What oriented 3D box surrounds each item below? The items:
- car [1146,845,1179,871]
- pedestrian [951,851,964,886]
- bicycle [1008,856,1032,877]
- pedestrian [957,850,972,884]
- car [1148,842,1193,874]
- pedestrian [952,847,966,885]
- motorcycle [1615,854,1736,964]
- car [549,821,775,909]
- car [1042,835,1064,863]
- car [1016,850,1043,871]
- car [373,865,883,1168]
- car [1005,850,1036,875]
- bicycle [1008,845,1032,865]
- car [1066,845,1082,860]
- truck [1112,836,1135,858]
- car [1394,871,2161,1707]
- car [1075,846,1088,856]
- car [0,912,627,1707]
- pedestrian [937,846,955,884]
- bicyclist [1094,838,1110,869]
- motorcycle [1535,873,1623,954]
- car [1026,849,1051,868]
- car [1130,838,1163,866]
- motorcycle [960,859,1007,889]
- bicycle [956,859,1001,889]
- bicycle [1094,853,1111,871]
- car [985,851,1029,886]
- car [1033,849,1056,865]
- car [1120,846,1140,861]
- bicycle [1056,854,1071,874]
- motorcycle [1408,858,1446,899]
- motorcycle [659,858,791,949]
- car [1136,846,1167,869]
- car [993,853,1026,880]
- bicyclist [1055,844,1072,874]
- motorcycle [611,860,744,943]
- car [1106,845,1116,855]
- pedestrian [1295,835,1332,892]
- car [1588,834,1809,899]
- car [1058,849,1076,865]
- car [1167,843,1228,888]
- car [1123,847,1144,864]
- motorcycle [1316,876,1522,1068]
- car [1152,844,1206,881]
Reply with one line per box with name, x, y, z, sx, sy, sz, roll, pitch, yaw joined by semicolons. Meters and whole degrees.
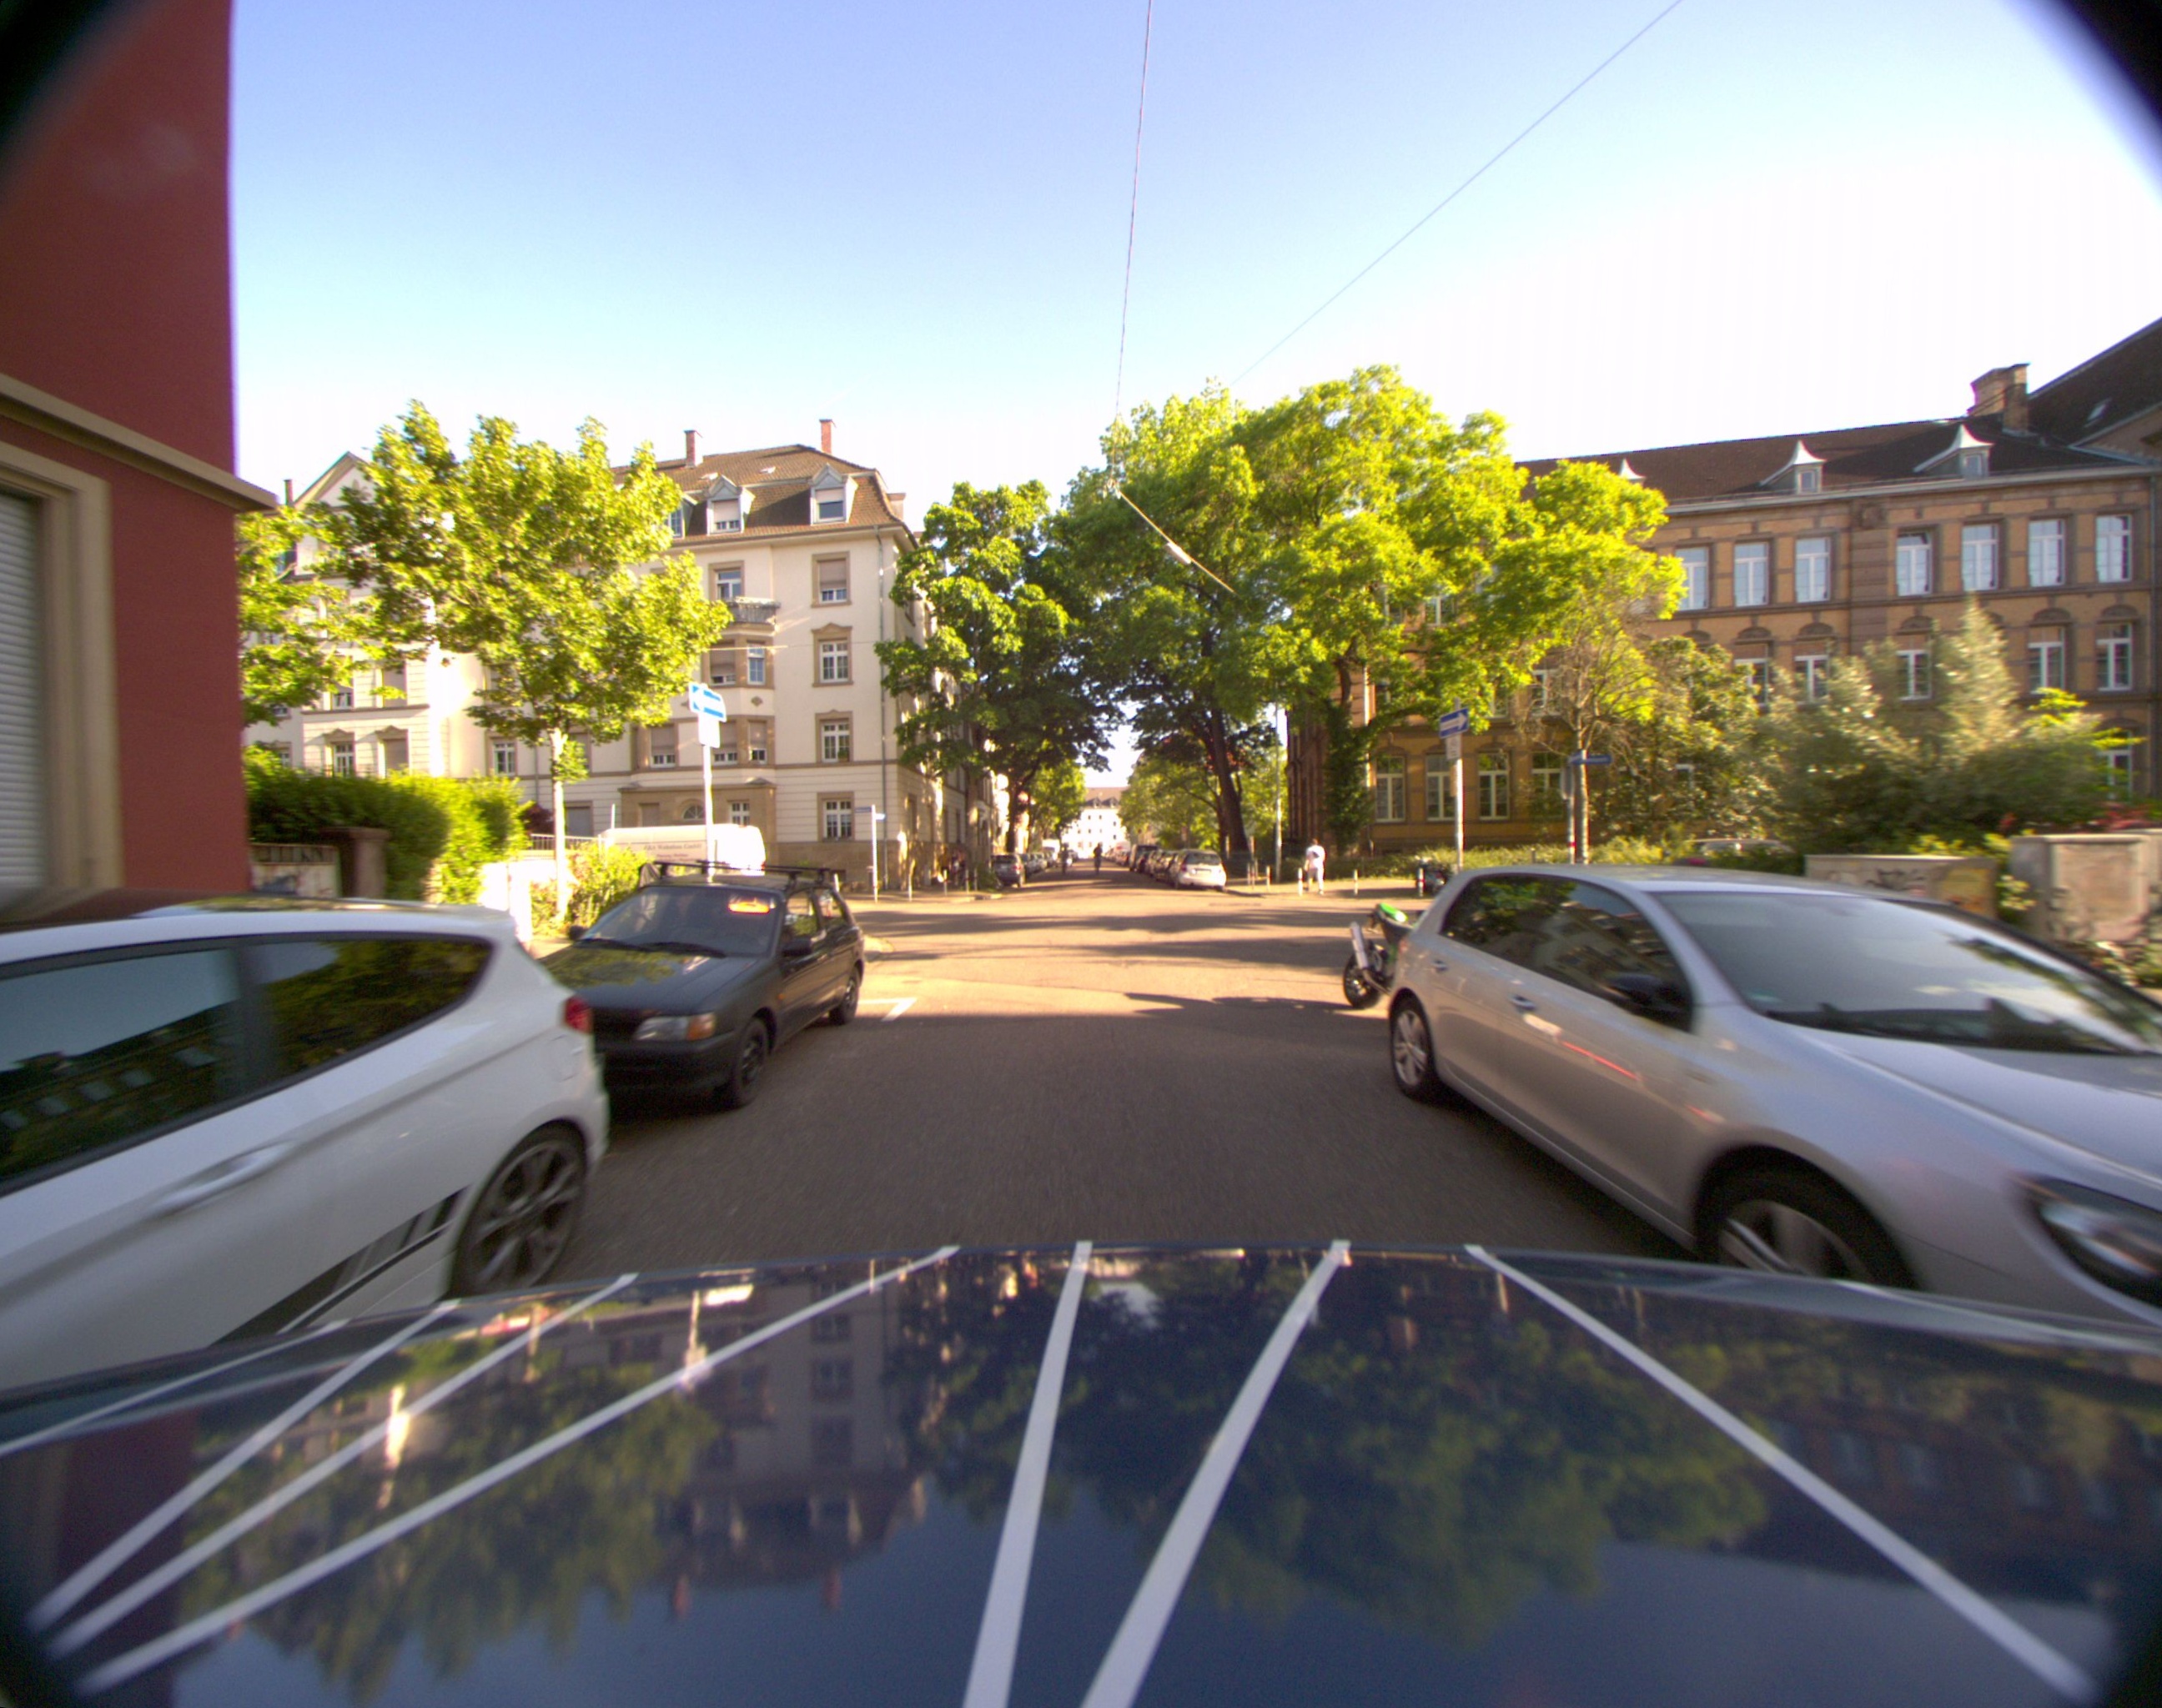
car;4.804;0.217;45.224;1.624;1.455;3.310;0;1;1
pedestrian;-6.577;0.777;40.463;0.529;1.834;0.707;-1;1;2
bicycle;-3.624;0.733;45.230;1.414;1.188;0.336;-1;1;-2
pedestrian;-6.382;0.684;41.751;0.706;1.834;0.840;-1;1;-5
car;4.639;0.188;39.835;1.793;1.524;3.999;2;0;-1
pedestrian;-5.467;0.525;33.975;0.520;1.709;0.516;-1;1;-1
motorcycle;7.508;0.627;9.713;0.612;1.190;2.046;0;2;20
car;-12.449;0.304;22.758;5.656;2.453;2.307;0;1;10
car;-3.135;-0.549;86.476;1.998;2.984;6.238;-4;1;1
car;-3.744;0.448;56.103;1.651;1.434;4.000;-1;1;1
car;-2.851;0.879;5.836;1.672;1.474;3.705;-1;1;0
car;-3.947;0.552;50.331;1.639;1.524;4.000;-1;1;1
bicycle;-3.719;0.084;46.611;1.414;1.188;0.336;-1;1;-2
car;-0.930;-0.185;105.174;2.146;2.002;4.863;-1;1;1
truck;5.204;-0.849;94.111;2.395;2.642;7.091;-1;1;-1
car;2.806;0.877;2.882;1.785;1.474;3.932;-1;1;3
car;0.184;-0.540;135.788;2.146;1.758;4.809;-1;1;2
car;-2.759;0.999;1.139;1.709;1.454;3.969;-1;1;1
pedestrian;-6.063;0.493;34.169;0.624;1.675;0.818;-1;1;0
bicyclist;1.298;-0.045;47.354;0.967;1.904;1.139;-1;1;1
motorcycle;7.788;0.889;11.972;0.640;1.083;1.872;0;2;16
car;-3.614;0.367;65.103;1.824;1.521;4.000;-1;1;1
car;4.731;-0.170;55.507;1.998;1.946;5.042;1;1;1
motorcycle;-4.106;0.843;32.019;1.855;1.205;0.678;2;0;-2
bicycle;-4.213;0.817;31.152;1.795;1.155;0.433;1;1;16
bicycle;1.307;0.503;47.356;0.985;1.135;2.548;-1;-1;0
car;-3.478;0.658;36.320;1.685;1.531;4.133;0;1;0
car;-3.327;0.241;69.623;1.812;1.412;4.000;-1;1;1
car;4.893;-0.061;76.340;1.755;1.464;3.999;-2;1;1
bicycle;-1.085;0.607;47.199;0.810;1.136;2.547;-1;1;0
motorcycle;10.024;0.683;22.067;0.543;1.095;1.897;0;1;10
motorcycle;-6.477;0.832;14.055;0.873;1.516;2.624;0;0;9
car;4.610;0.206;50.030;1.731;1.455;3.844;0;1;1
car;-3.902;0.671;41.974;1.728;1.399;3.854;0;1;-4
bicyclist;-1.087;0.310;47.231;0.934;1.809;1.077;-1;1;1
motorcycle;-7.637;0.845;14.592;0.870;1.396;2.544;0;1;9
car;5.166;-0.707;130.117;1.597;1.557;3.999;-1;1;0
pedestrian;7.325;0.281;23.989;0.805;1.736;1.005;-1;1;-5
car;16.071;0.311;19.989;4.139;1.566;1.886;-1;1;8
car;-1.344;0.285;74.585;1.654;1.449;4.000;-1;1;1
car;4.492;0.387;29.797;1.710;1.549;3.951;2;1;0
car;4.820;0.114;69.991;1.739;1.456;4.000;0;1;1
motorcycle;2.781;0.895;6.546;0.678;1.326;1.999;2;1;-6
car;4.467;0.352;35.187;1.586;1.456;3.996;3;1;-6
